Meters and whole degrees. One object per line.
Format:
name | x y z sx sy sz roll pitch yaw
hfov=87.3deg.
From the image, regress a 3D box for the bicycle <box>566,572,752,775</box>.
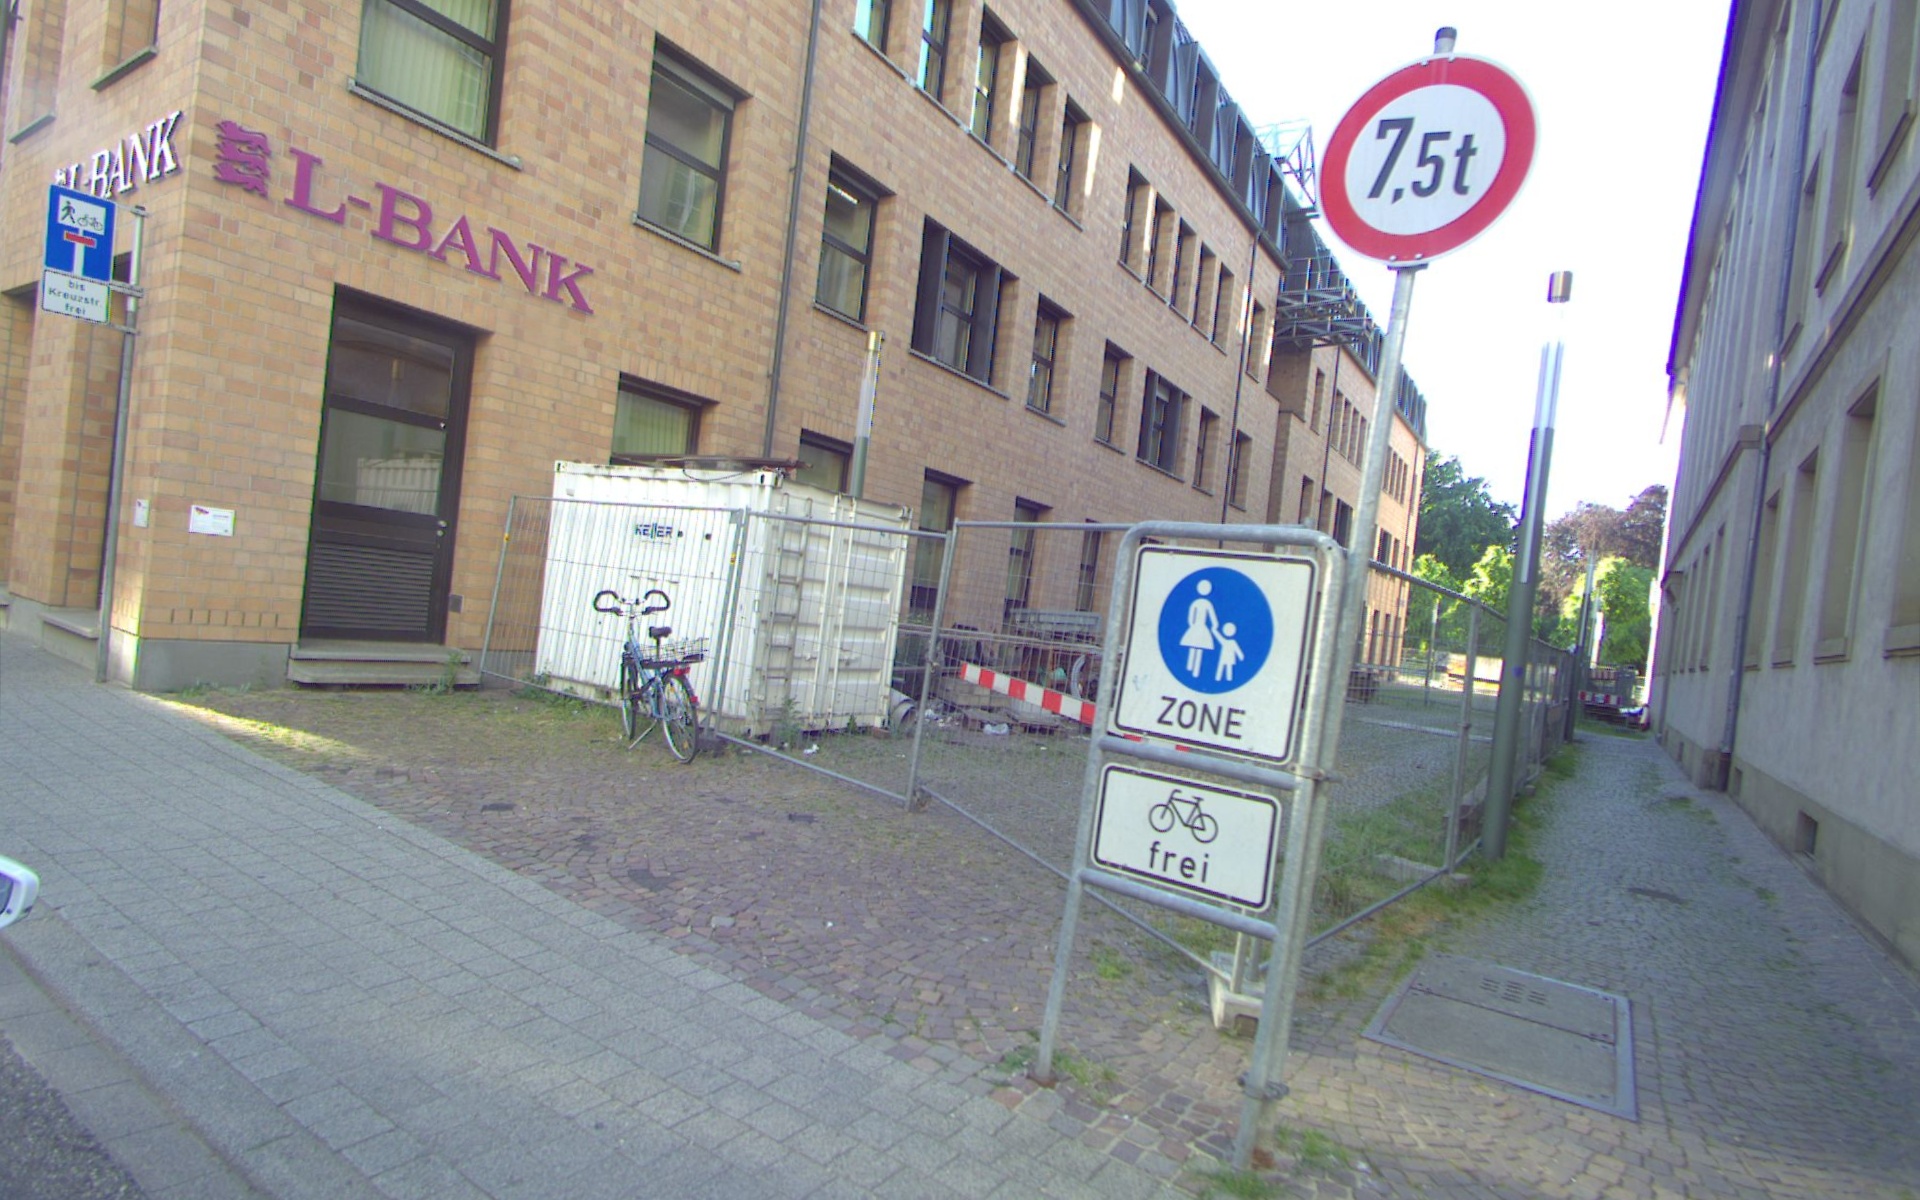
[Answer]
bicycle | -2.390 0.526 7.861 1.625 1.334 0.549 7 1 44
